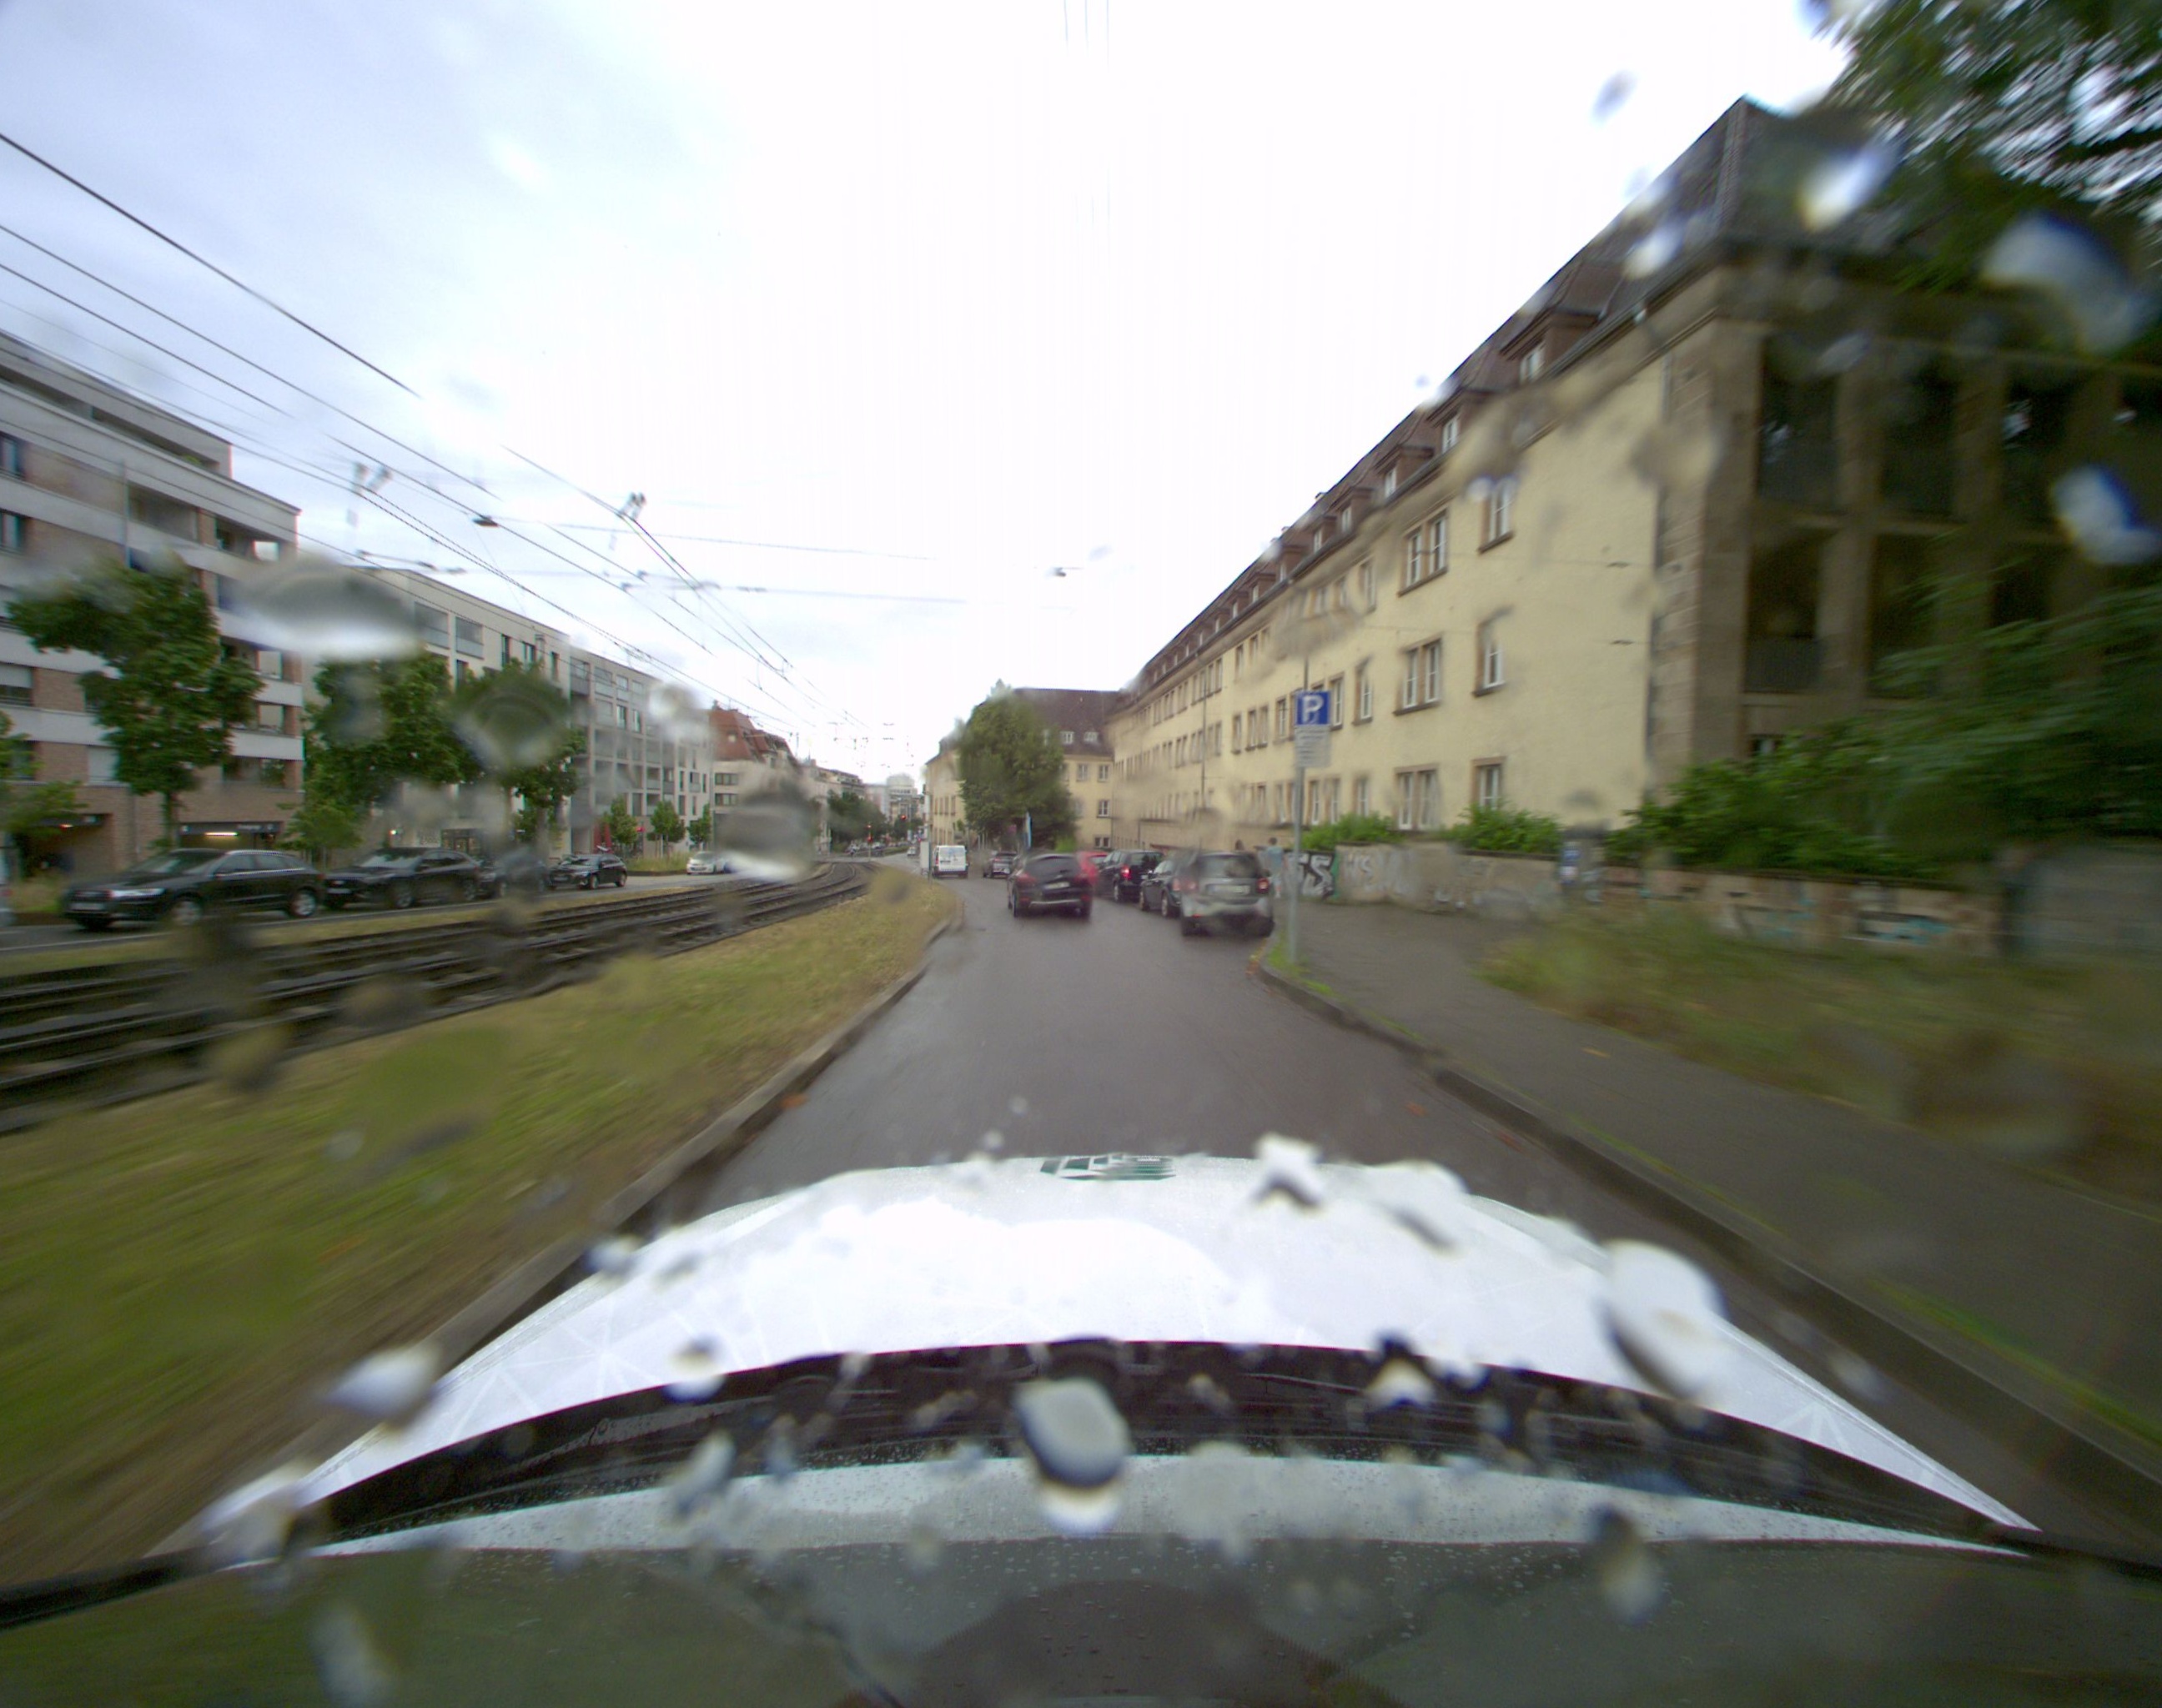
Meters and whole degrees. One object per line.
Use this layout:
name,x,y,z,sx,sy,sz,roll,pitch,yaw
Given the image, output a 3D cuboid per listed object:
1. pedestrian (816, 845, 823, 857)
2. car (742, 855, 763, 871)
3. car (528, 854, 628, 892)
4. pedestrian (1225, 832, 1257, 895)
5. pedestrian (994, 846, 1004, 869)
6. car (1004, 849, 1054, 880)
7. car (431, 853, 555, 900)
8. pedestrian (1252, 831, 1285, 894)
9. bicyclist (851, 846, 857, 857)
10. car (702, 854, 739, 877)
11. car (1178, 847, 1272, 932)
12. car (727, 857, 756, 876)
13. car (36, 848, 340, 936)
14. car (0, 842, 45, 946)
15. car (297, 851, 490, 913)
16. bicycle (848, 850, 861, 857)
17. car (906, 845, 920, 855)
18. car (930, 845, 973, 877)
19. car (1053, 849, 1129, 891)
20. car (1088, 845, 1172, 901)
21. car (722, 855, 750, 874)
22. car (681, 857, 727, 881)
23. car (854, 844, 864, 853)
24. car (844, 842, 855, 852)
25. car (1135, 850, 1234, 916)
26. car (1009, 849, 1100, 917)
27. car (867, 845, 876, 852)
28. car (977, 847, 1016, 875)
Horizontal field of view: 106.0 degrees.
pedestrian,-41.401,-0.444,128.912,0.908,1.932,0.819,0,0,-21
car,-32.808,0.893,81.446,1.778,1.504,4.056,0,0,-20
car,-20.698,0.746,33.734,1.964,1.431,4.188,1,0,-8
pedestrian,4.525,0.261,23.077,0.716,1.754,0.738,-1,0,-5
pedestrian,-6.126,0.255,60.829,0.633,1.721,0.707,0,0,-16
car,-2.712,0.496,41.301,1.669,1.476,4.086,-1,0,-16
car,-20.228,0.729,28.248,1.737,1.489,4.243,1,0,-10
pedestrian,5.337,0.243,23.206,0.716,1.754,0.738,-1,0,-5
bicyclist,-34.371,-0.413,123.342,0.705,1.574,0.457,1,-1,-38
car,-25.398,0.756,57.497,1.769,1.561,4.382,0,0,-16
car,2.696,0.614,15.569,1.589,1.465,2.727,-1,0,8
car,-28.084,0.997,67.503,1.723,1.513,4.295,0,0,-16
car,-19.033,0.718,17.756,1.727,1.644,4.527,1,0,-3
car,-19.019,0.669,12.178,1.659,1.747,4.253,0,0,-2
car,-19.412,0.733,23.330,1.800,1.583,4.690,1,0,-5
bicycle,-34.303,-0.044,123.407,1.811,1.064,0.452,1,0,-38
car,-29.477,-0.733,142.689,1.991,1.772,3.992,0,0,-6
car,-7.476,0.368,46.770,2.139,1.745,4.199,0,1,-13
car,0.294,0.566,30.374,1.670,1.476,4.042,1,0,-18
car,1.414,0.542,25.146,1.666,1.573,3.841,-1,0,-11
car,-26.519,0.776,62.726,1.552,1.435,3.432,0,0,-16
car,-24.553,0.969,53.191,1.765,1.479,3.722,0,0,-9
car,-51.353,-1.316,188.196,1.995,2.013,3.984,0,0,-12
car,-49.951,-1.540,175.561,1.995,2.013,3.984,0,0,-12
car,2.409,0.617,19.724,1.534,1.416,3.635,-1,0,-7
car,-0.758,0.621,20.121,1.918,1.479,3.991,0,1,-7
car,-54.580,-1.423,212.165,1.995,1.662,3.984,0,0,-12
car,-4.883,0.395,46.801,1.668,1.524,4.090,-1,0,-13
